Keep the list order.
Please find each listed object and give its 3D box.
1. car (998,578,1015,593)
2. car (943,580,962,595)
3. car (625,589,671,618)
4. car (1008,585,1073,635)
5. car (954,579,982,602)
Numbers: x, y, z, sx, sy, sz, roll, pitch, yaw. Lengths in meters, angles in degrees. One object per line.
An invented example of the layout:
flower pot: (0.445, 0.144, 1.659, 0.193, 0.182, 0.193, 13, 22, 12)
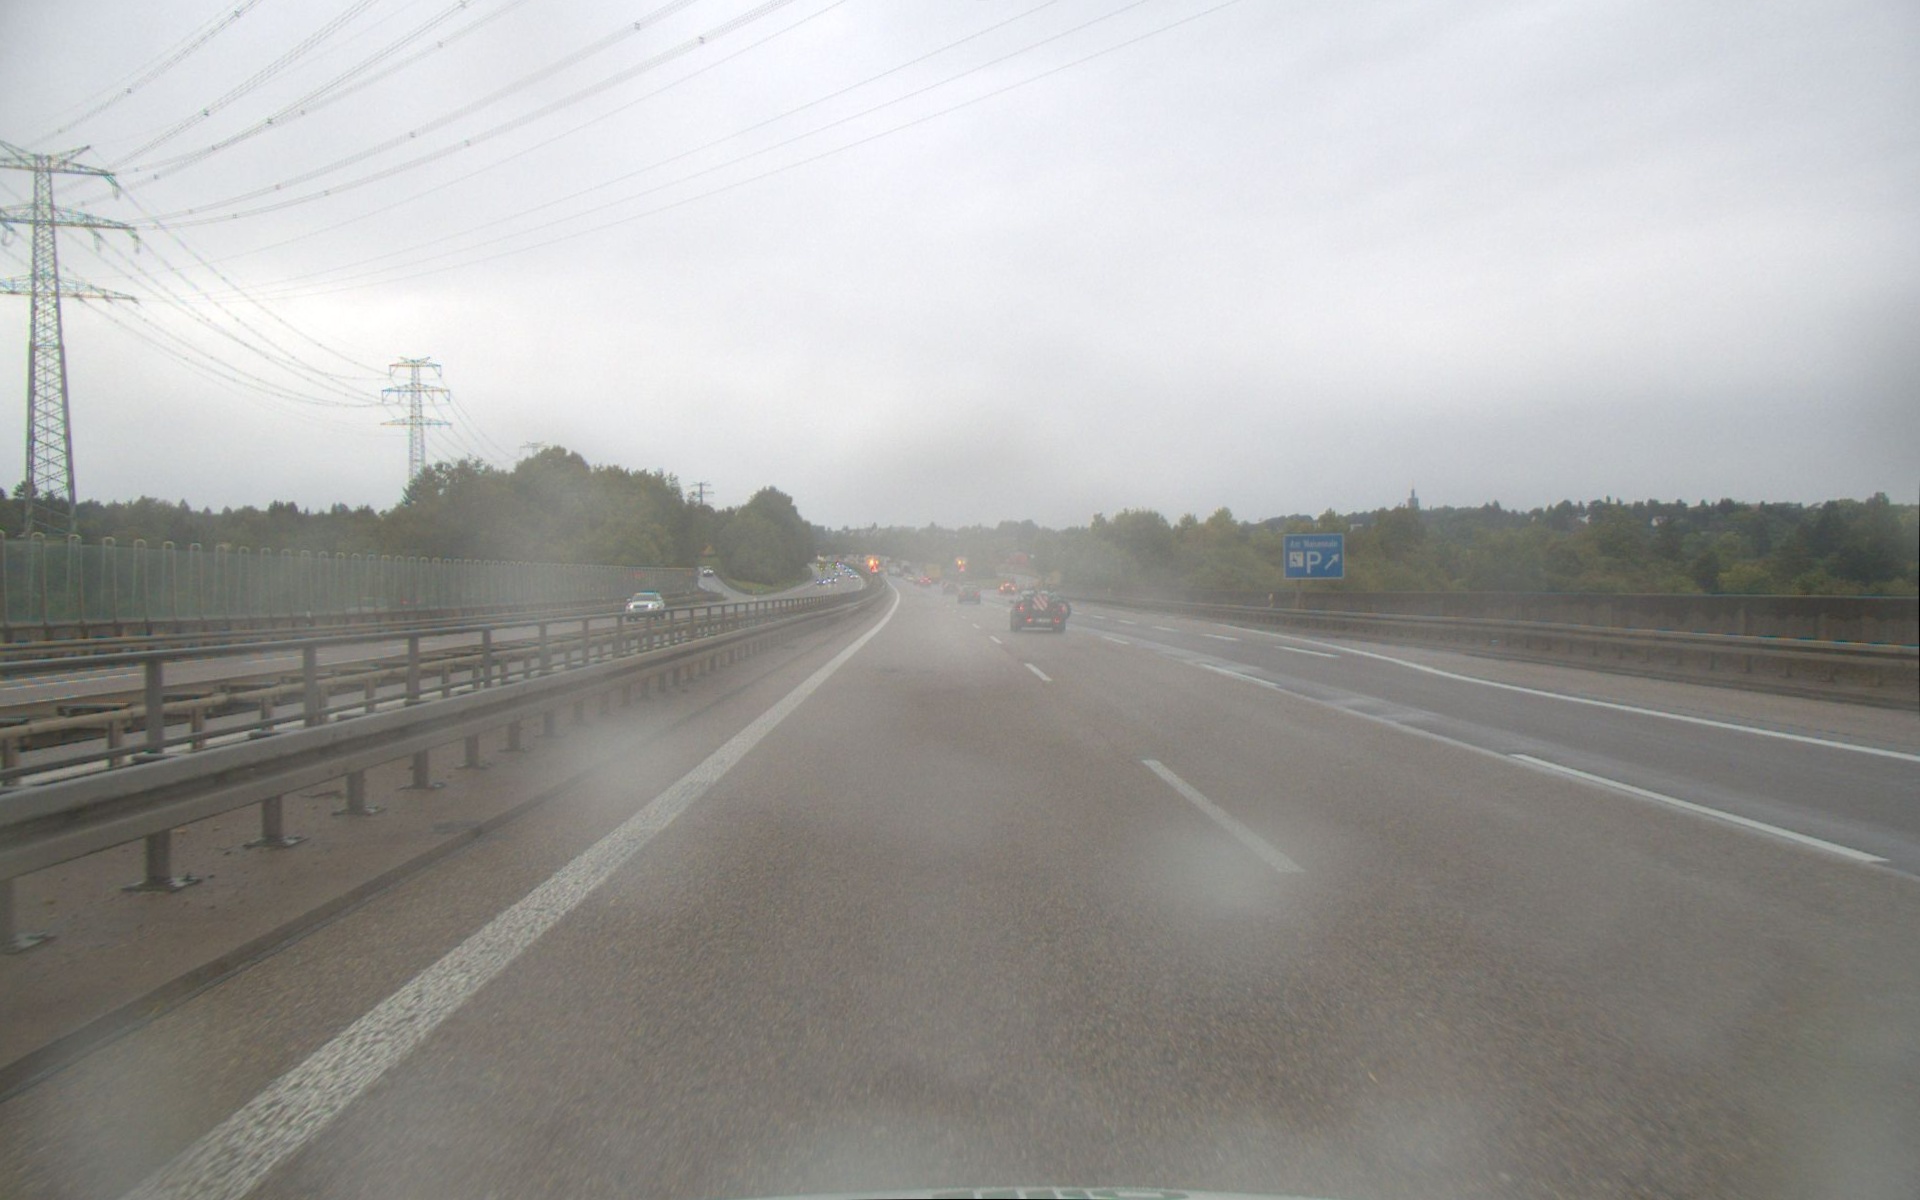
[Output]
car: (5.603, -1.713, 199.628, 1.882, 1.739, 4.002, -1, 1, 3)
car: (-0.867, -1.518, 193.140, 1.954, 1.656, 3.997, -1, 1, -4)
car: (-18.519, 0.176, 98.324, 1.953, 1.658, 4.712, -1, 1, -2)
car: (2.825, 0.337, 59.161, 2.016, 1.700, 5.521, 0, 0, -1)
car: (0.629, -0.802, 134.780, 1.954, 1.791, 3.997, -1, 1, -4)
